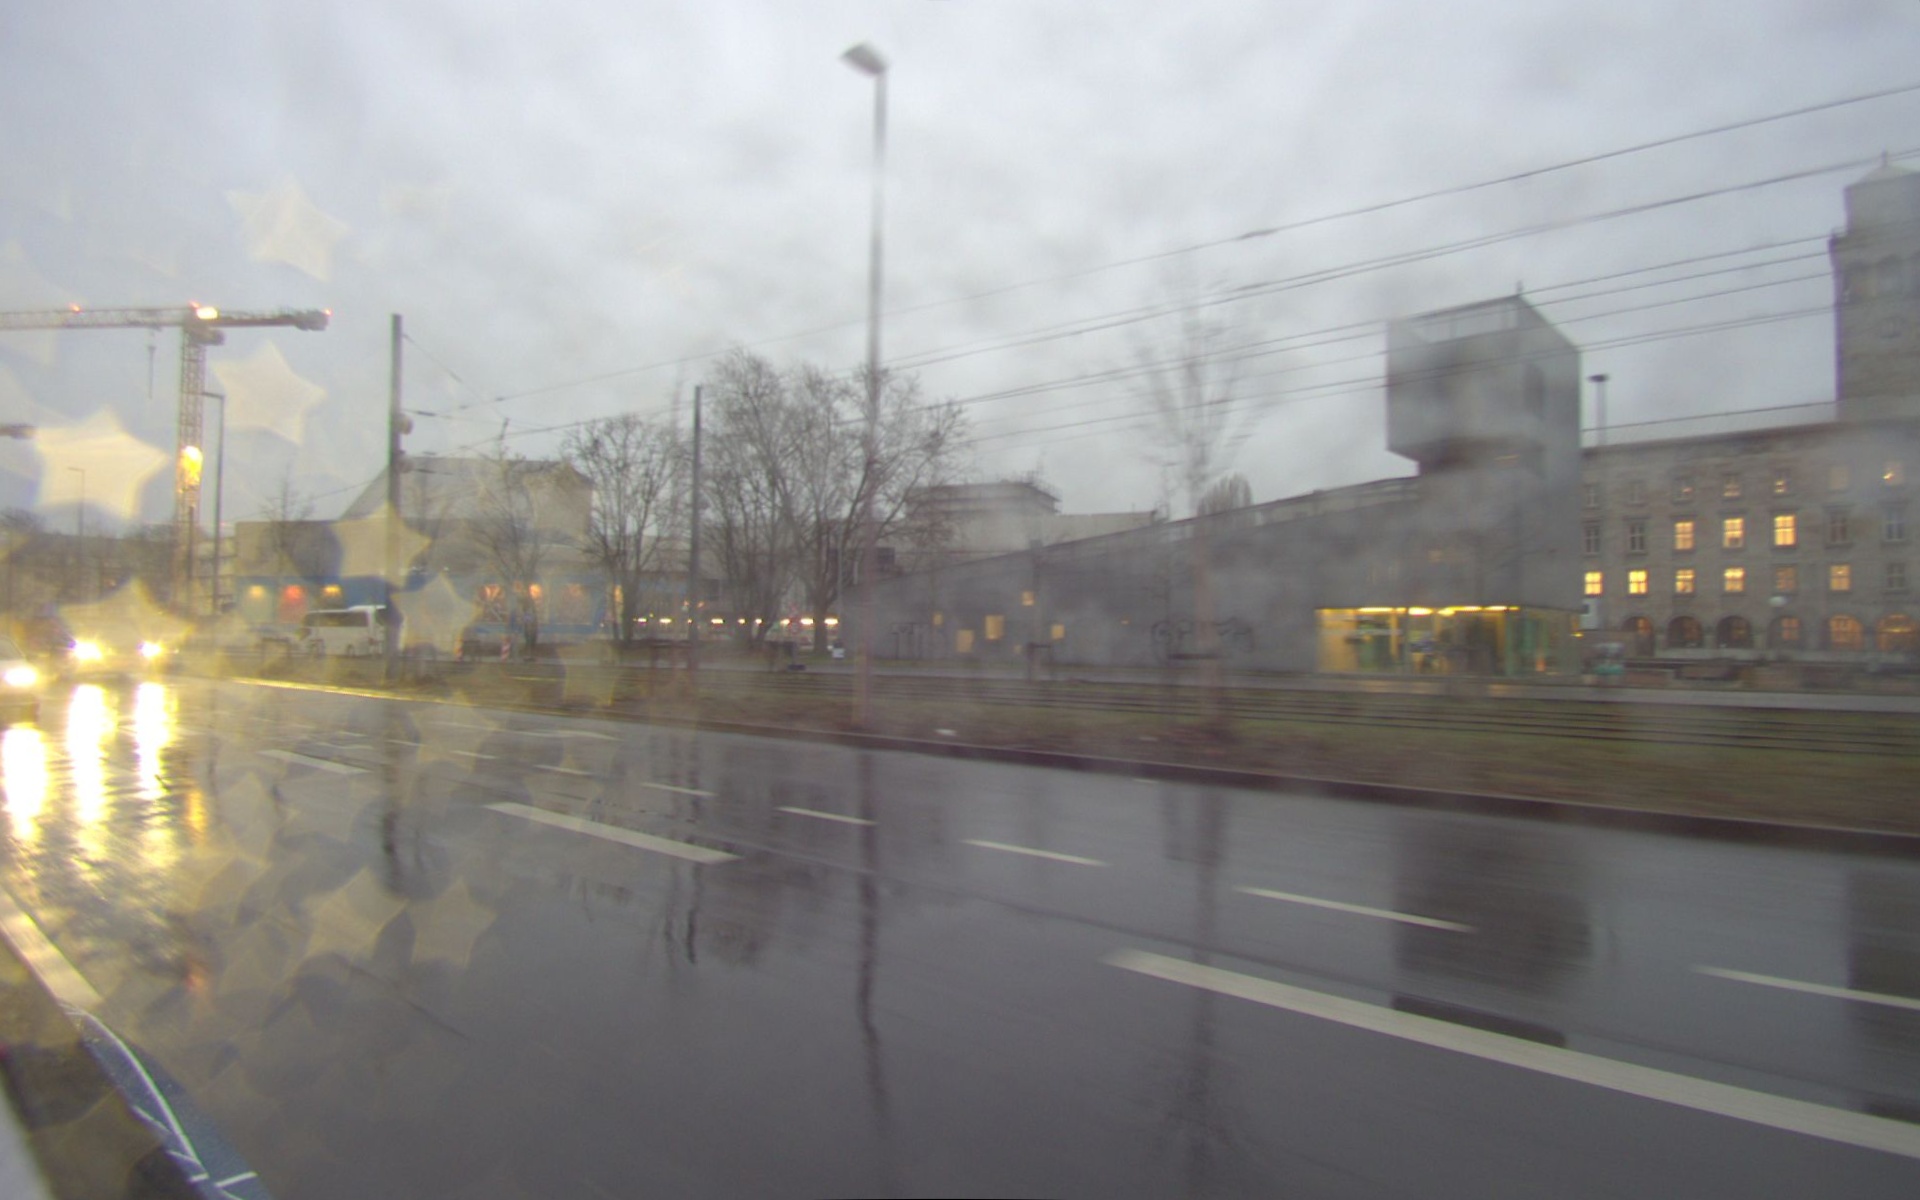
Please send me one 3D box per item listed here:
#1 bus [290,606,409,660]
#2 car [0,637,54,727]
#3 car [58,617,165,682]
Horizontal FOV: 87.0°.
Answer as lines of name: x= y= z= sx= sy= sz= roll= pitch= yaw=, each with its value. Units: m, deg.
bus: x=-44.411 y=2.404 z=73.419 sx=12.281 sy=3.605 sz=2.781 roll=-1 pitch=-3 yaw=36
car: x=-17.635 y=1.404 z=17.913 sx=4.125 sy=1.486 sz=1.756 roll=-2 pitch=-2 yaw=39
car: x=-24.871 y=1.424 z=29.602 sx=4.610 sy=1.756 sz=1.685 roll=-2 pitch=-3 yaw=41
